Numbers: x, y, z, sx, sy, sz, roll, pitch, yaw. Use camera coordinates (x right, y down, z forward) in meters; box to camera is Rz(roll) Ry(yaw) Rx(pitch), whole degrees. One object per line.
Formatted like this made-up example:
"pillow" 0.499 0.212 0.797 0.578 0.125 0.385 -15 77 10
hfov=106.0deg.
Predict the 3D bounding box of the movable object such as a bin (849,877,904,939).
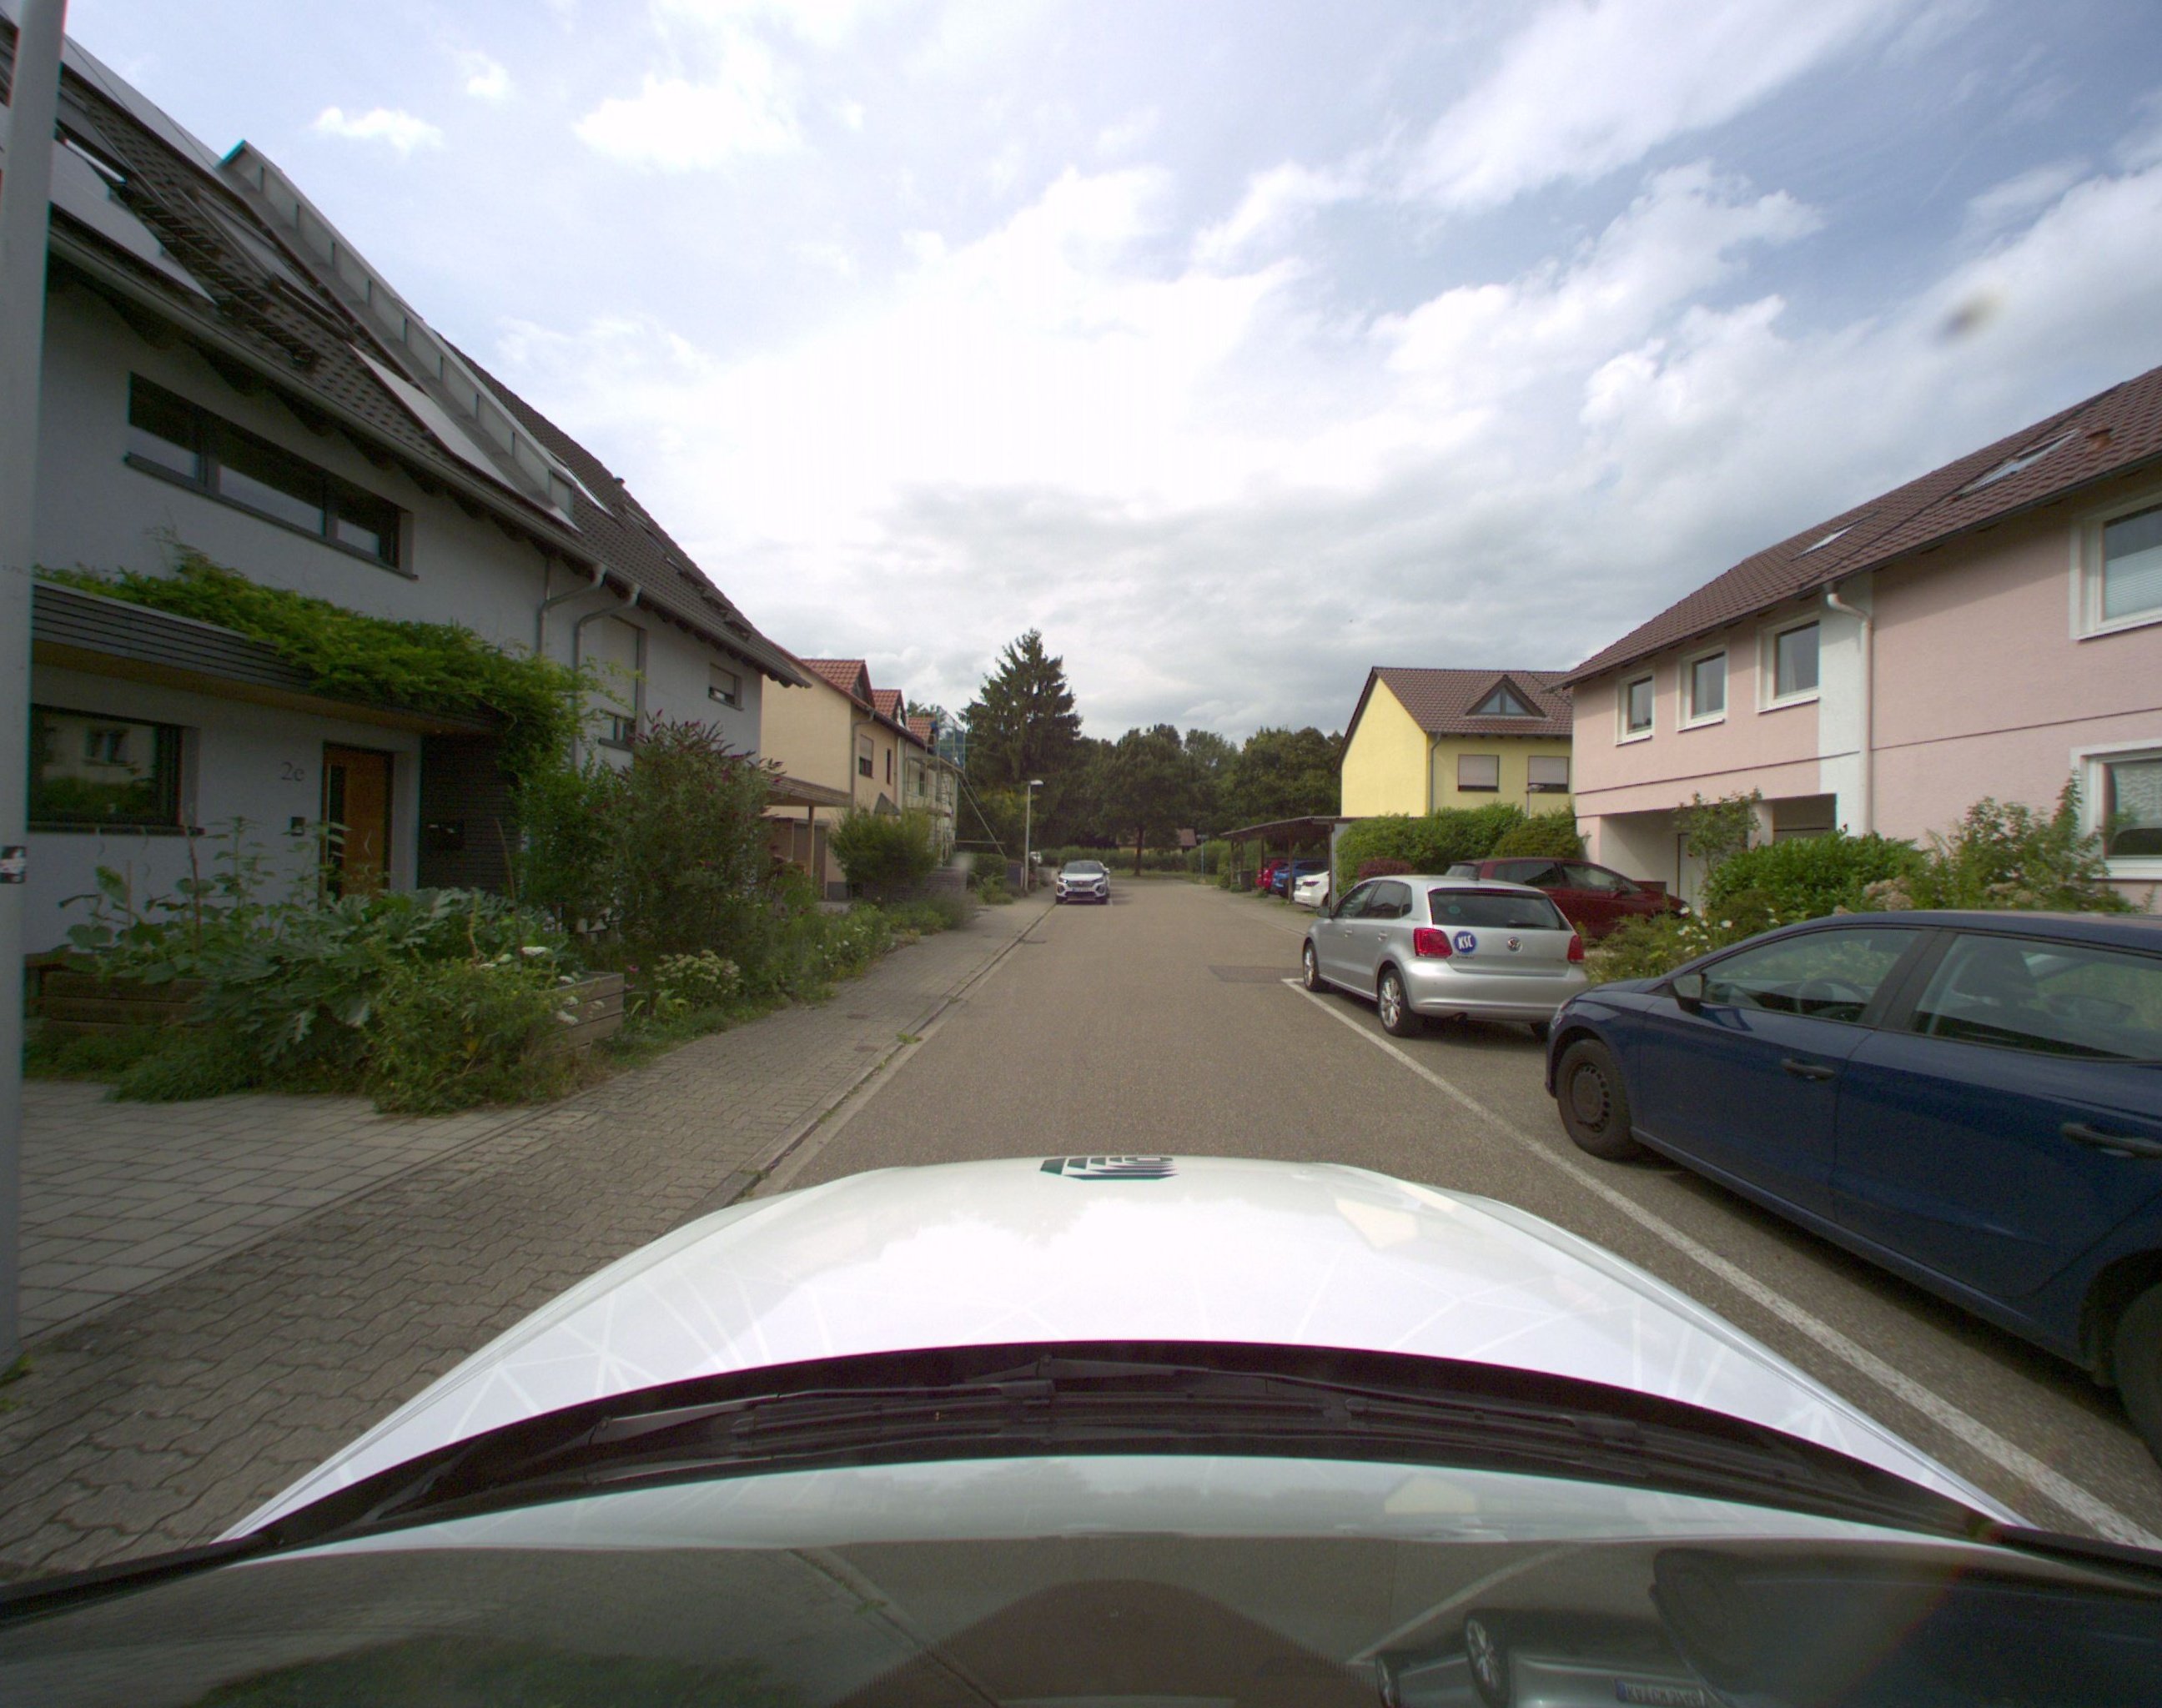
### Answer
"movable object such as a bin" -4.511 1.171 18.067 0.946 1.312 1.001 0 -1 1

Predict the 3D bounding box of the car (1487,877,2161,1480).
"car" 3.505 0.818 3.280 1.766 1.356 4.267 0 0 2

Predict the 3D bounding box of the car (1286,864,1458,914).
"car" 8.613 1.017 24.403 4.436 1.433 2.027 0 -1 -1

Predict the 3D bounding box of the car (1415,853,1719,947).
"car" 8.460 0.774 14.498 4.253 1.560 1.935 0 -1 2

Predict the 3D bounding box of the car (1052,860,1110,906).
"car" 0.066 0.992 29.765 1.926 1.556 4.637 0 0 2

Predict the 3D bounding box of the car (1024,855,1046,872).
"car" -4.826 0.998 86.571 1.930 1.660 4.343 1 0 2

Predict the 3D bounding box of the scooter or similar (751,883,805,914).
"scooter or similar" -8.079 1.188 21.699 1.297 0.797 0.363 0 -1 1

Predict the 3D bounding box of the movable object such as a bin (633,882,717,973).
"movable object such as a bin" -5.071 0.902 10.207 0.697 1.072 0.711 0 -1 -2

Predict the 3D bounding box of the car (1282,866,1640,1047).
"car" 3.632 0.873 8.778 1.859 1.417 4.251 1 0 -1

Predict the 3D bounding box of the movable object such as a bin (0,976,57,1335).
"movable object such as a bin" -3.447 0.876 2.142 0.599 1.027 0.665 3 -1 2

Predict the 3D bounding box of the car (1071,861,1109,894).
"car" 0.502 1.137 40.619 1.785 1.531 4.142 0 0 2

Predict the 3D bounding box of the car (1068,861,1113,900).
"car" 0.435 1.081 35.159 1.803 1.562 4.849 0 0 1

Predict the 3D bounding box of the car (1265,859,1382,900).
"car" 9.447 0.979 31.932 4.034 1.522 1.949 0 -1 -1

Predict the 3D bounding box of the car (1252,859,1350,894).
"car" 9.906 1.008 36.847 3.945 1.540 1.838 0 -1 -1
